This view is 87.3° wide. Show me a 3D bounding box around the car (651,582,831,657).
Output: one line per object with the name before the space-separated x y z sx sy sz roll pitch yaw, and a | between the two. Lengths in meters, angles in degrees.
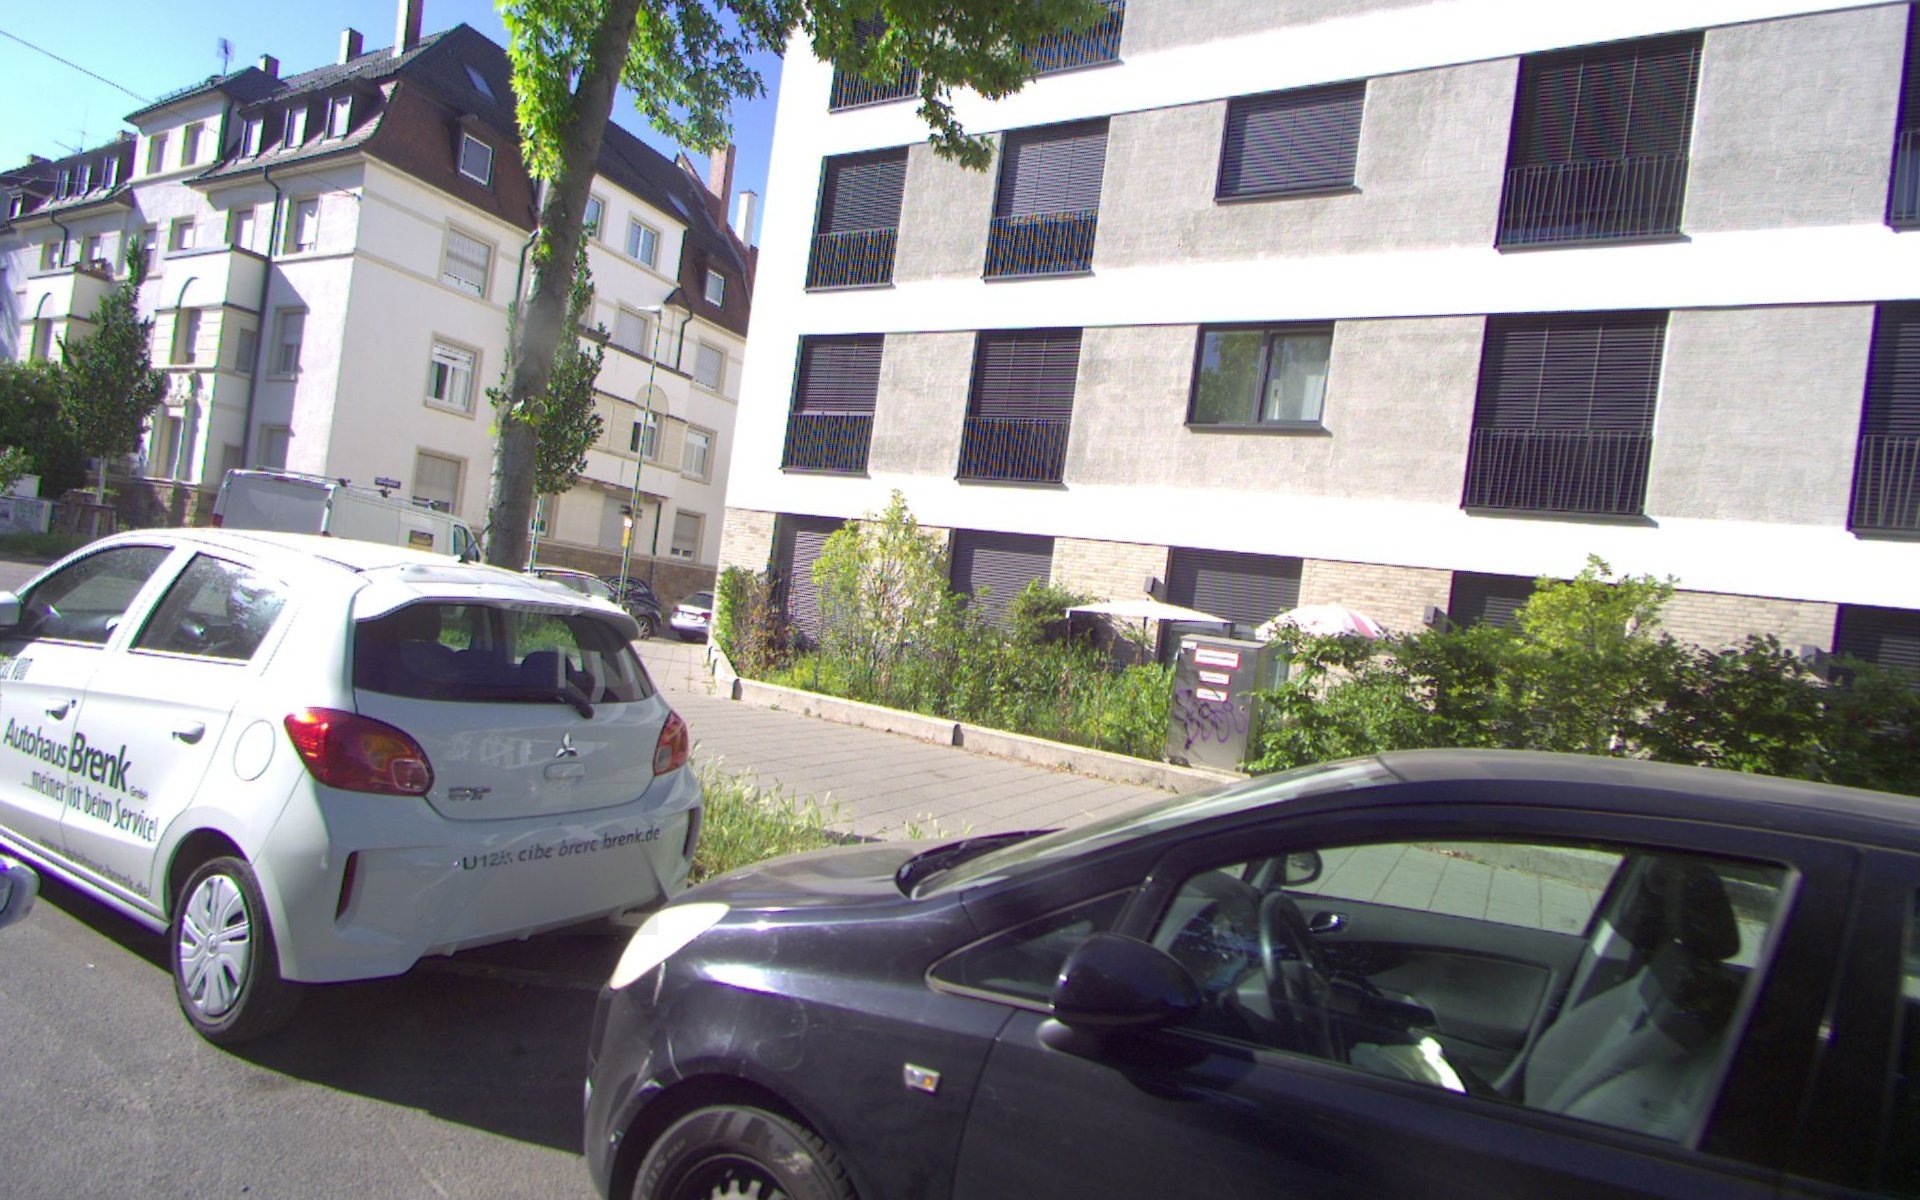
car | -5.897 0.608 27.753 1.927 1.446 4.939 9 0 29

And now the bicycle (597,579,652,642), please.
bicycle | -7.015 0.227 21.100 0.652 1.187 1.990 8 -2 -9

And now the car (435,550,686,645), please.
car | -8.672 0.024 22.354 2.012 1.487 4.940 8 -1 28

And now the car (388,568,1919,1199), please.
car | 0.988 0.987 2.021 4.107 1.466 1.676 7 -3 29

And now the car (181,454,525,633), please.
car | -10.033 -0.760 17.300 2.192 2.333 5.061 8 -1 7

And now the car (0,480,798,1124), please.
car | -2.875 0.435 4.247 3.940 1.504 1.737 7 -1 28

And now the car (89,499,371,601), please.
car | -16.038 -1.049 22.298 1.928 1.486 4.710 6 -2 44

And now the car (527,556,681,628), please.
car | -10.839 -0.193 30.898 1.803 1.660 4.181 7 -1 28
